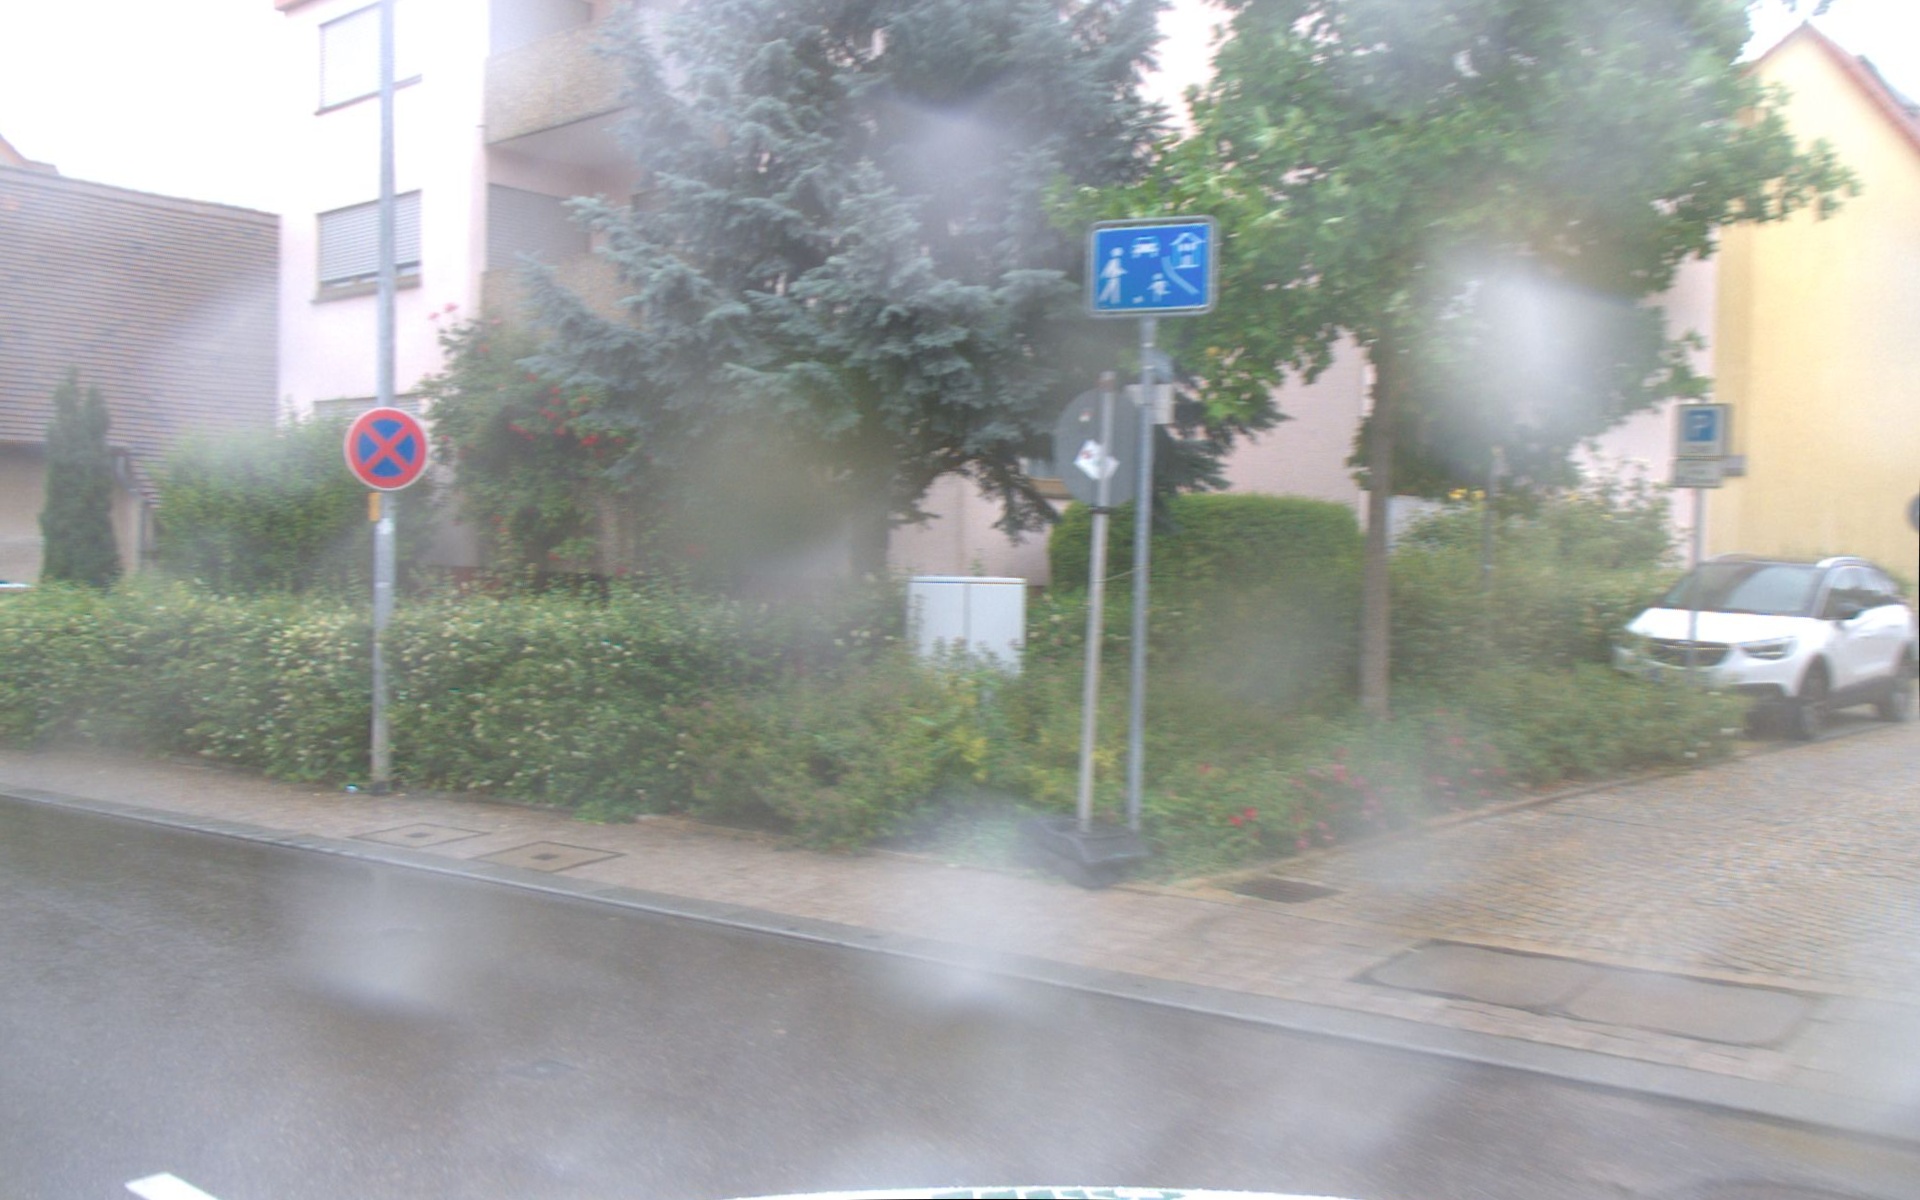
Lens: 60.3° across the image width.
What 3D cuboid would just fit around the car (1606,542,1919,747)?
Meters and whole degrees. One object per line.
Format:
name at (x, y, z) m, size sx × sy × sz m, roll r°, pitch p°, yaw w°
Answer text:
car at (7.865, 0.333, 15.945) m, size 3.909 × 1.707 × 1.579 m, roll -1°, pitch 3°, yaw -45°

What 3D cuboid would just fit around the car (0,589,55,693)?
car at (-16.912, 0.659, 26.144) m, size 1.868 × 1.678 × 4.208 m, roll 0°, pitch 0°, yaw 40°
